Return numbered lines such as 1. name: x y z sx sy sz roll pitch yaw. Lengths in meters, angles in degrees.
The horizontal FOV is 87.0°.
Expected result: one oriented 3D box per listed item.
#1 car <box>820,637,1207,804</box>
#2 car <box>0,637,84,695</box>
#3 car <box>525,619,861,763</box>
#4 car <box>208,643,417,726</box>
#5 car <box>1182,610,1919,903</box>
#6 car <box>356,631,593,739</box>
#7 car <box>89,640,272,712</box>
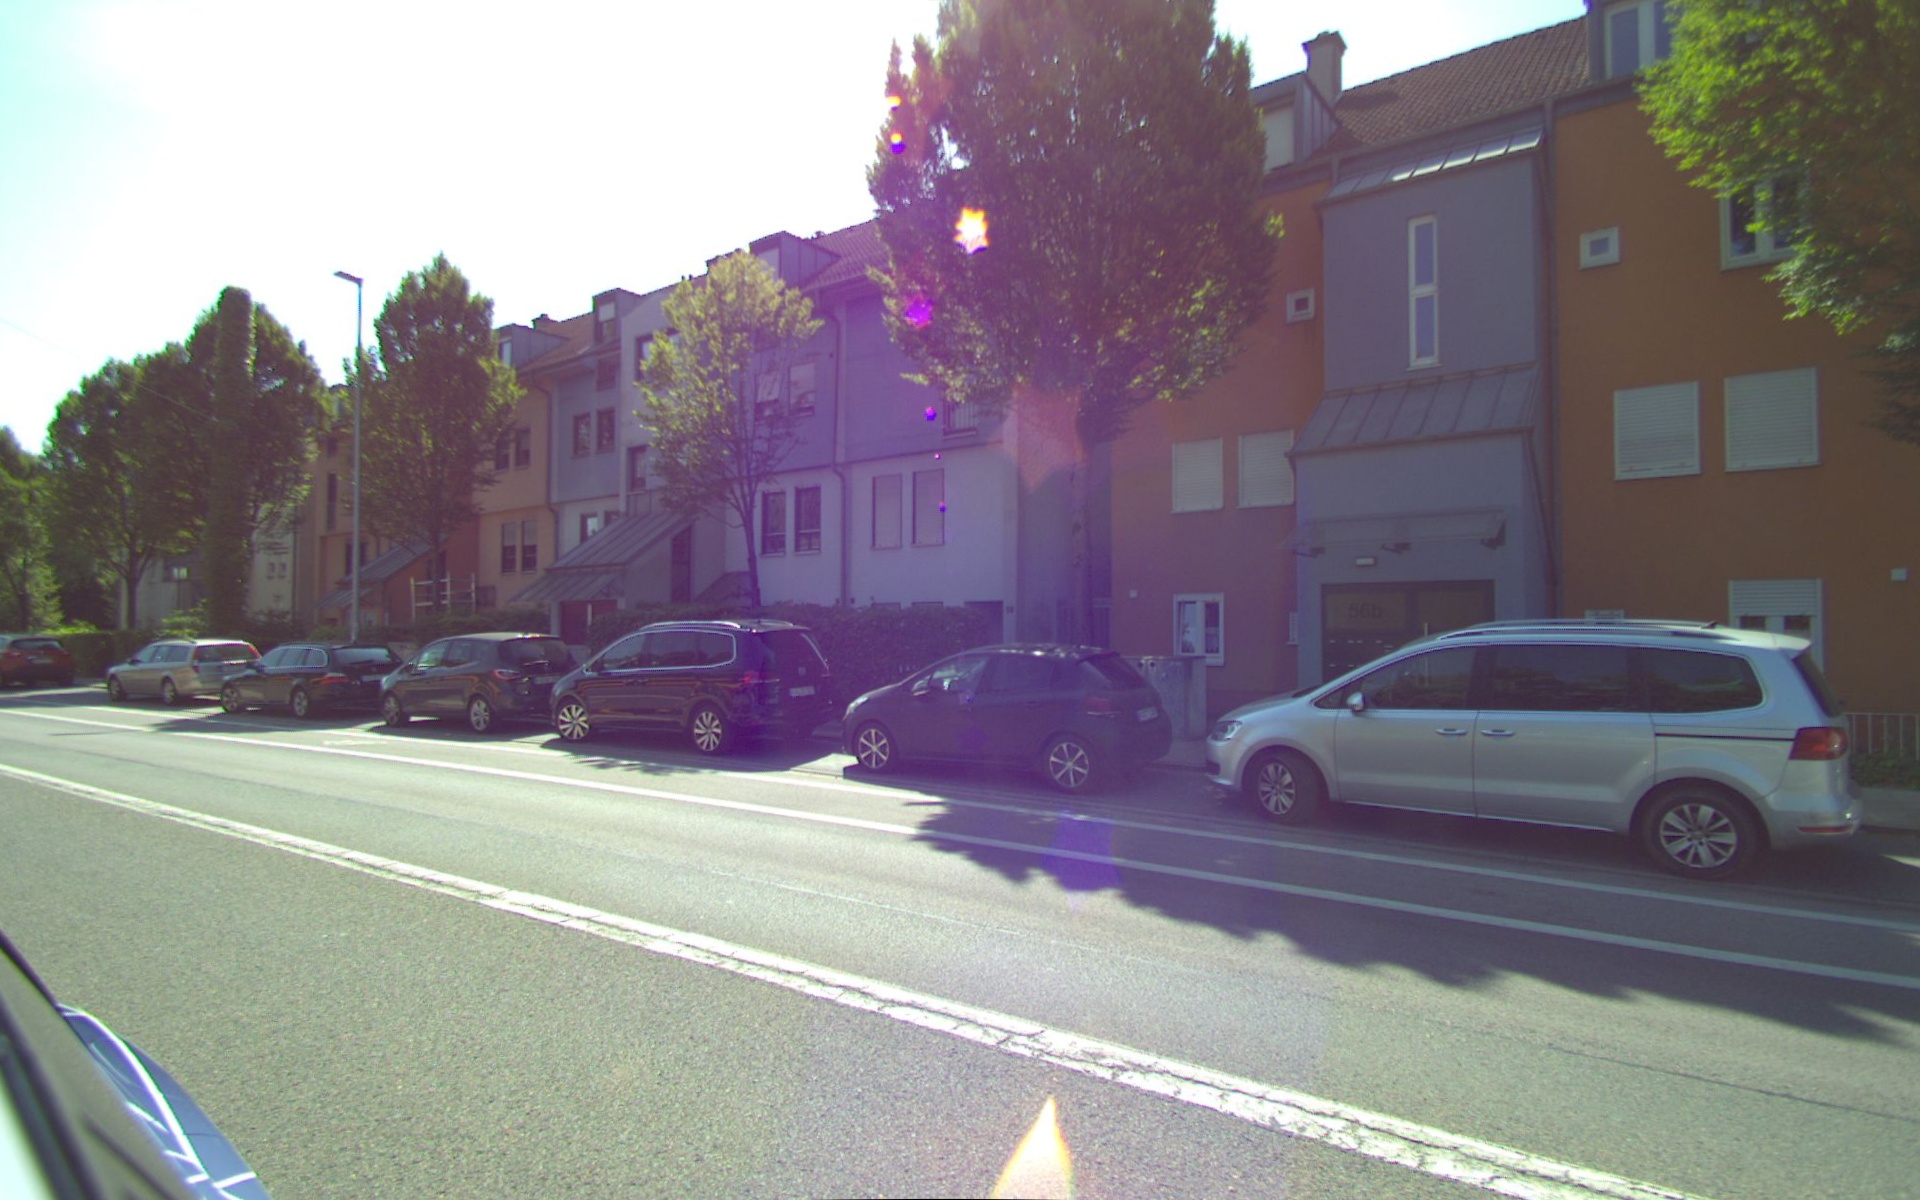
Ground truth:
1. car: 0.519 1.204 11.365 4.037 1.485 1.676 -1 0 34
2. car: -27.714 1.890 29.664 4.299 1.563 1.719 -2 -1 29
3. car: -3.885 1.180 14.413 4.852 1.736 1.756 -1 -1 31
4. car: -13.333 1.658 20.752 4.697 1.485 1.710 -1 -1 31
5. car: 4.501 1.021 8.354 4.900 1.737 1.784 -2 0 37
6. car: -8.451 1.386 17.507 4.298 1.637 1.704 -2 -1 32
7. car: -18.802 1.757 24.363 4.836 1.495 1.769 -1 -1 29
